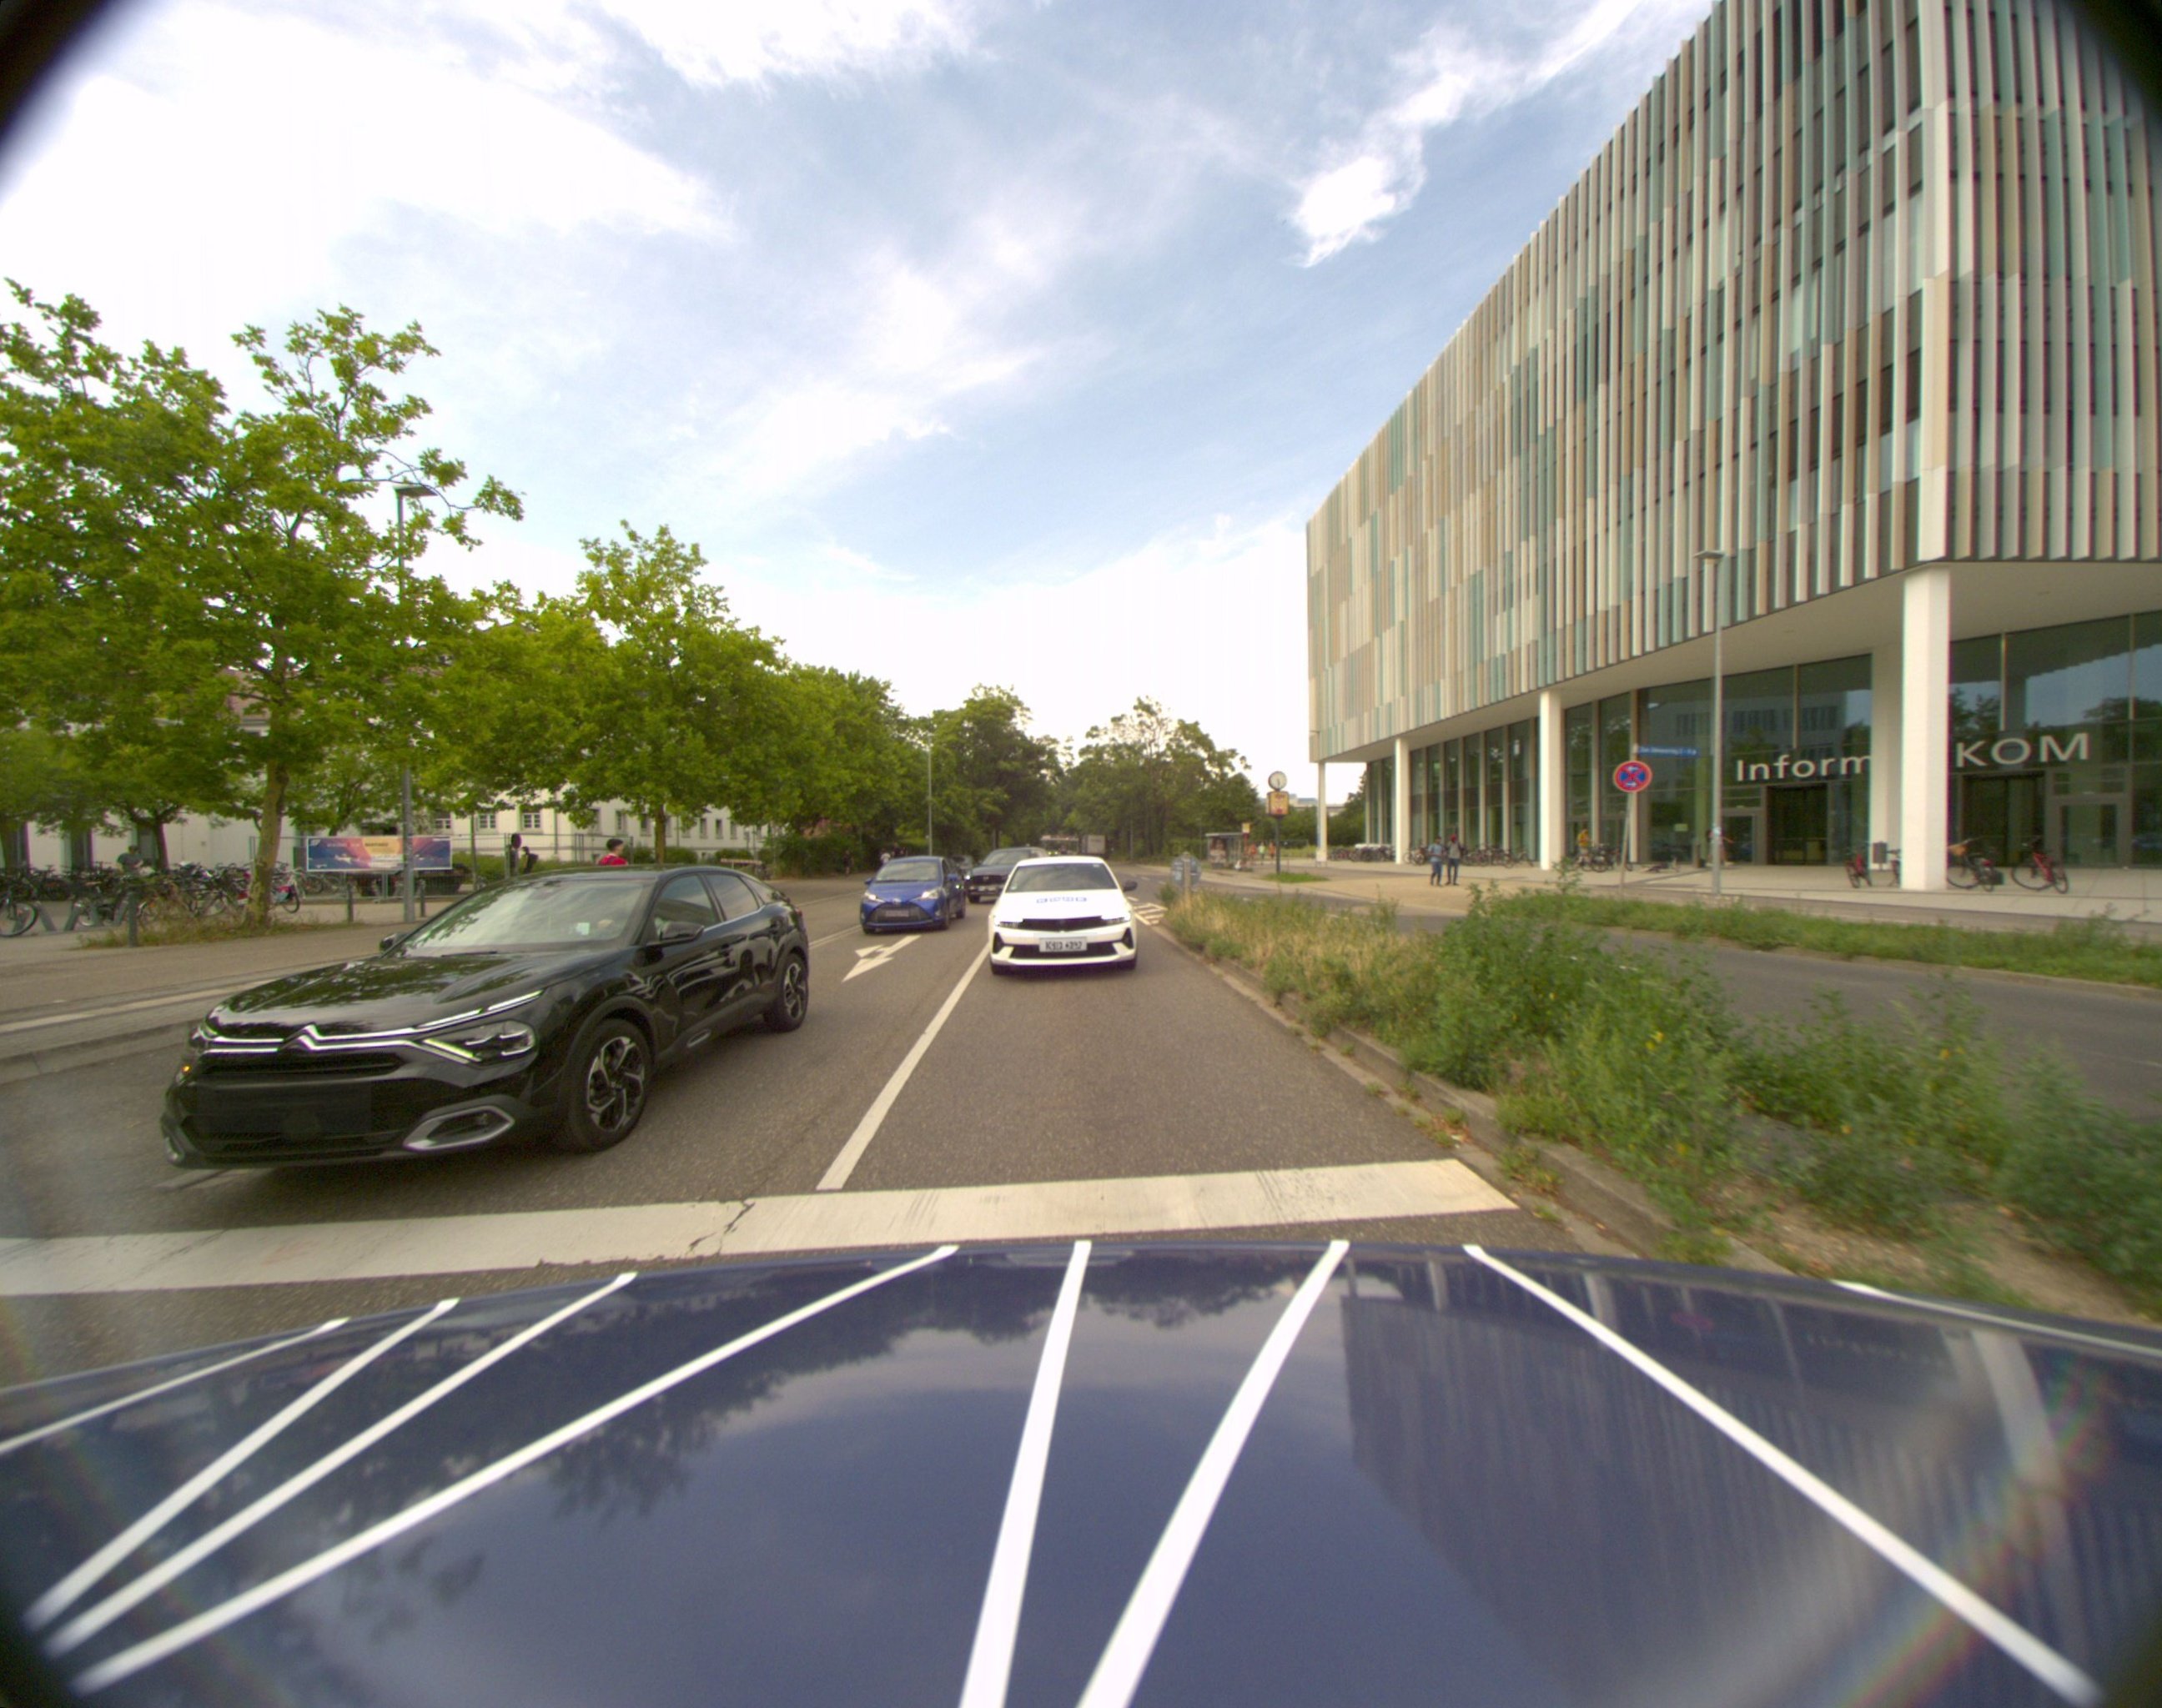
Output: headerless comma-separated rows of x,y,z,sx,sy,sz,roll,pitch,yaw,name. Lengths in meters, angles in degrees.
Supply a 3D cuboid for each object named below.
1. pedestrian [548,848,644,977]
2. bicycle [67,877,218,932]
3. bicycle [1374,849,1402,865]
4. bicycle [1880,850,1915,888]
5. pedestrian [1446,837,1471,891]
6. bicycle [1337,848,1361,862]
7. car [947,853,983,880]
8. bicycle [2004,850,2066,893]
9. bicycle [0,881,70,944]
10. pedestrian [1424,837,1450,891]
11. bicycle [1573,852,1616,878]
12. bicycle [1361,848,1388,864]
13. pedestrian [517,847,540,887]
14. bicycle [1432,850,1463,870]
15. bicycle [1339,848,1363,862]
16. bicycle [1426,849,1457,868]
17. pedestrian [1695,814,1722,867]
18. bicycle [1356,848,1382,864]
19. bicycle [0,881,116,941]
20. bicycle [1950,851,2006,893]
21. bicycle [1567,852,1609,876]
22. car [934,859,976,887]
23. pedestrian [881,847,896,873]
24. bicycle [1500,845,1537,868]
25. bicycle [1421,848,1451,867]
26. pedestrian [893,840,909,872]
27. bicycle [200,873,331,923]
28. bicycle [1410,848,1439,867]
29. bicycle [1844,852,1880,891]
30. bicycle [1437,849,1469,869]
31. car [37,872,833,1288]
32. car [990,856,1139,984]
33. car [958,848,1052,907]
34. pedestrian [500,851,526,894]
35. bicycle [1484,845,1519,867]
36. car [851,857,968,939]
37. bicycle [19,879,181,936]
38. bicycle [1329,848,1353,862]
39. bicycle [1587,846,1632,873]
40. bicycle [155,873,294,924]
-7.280,0.836,11.462,0.727,1.843,1.064,-1,1,-3,pedestrian
-21.211,1.136,17.205,2.472,1.136,0.717,-1,1,0,bicycle
20.831,0.194,51.536,1.704,1.017,0.389,-3,1,-6,bicycle
22.078,0.397,20.542,1.600,0.932,0.393,-4,1,-34,bicycle
13.146,0.348,26.487,0.512,1.827,0.624,-1,0,-2,pedestrian
20.638,0.063,58.531,1.704,1.017,0.434,-3,1,-6,bicycle
-6.872,0.704,45.339,1.606,1.454,4.017,-1,1,-2,car
22.597,0.399,18.028,0.393,0.932,1.601,-2,1,32,bicycle
-21.006,1.114,14.480,2.472,1.136,0.717,-1,1,0,bicycle
12.368,0.343,26.409,0.512,1.827,0.772,-1,0,-2,pedestrian
20.842,0.444,30.841,1.546,0.932,0.394,-3,1,-6,bicycle
20.519,0.138,53.169,1.704,1.017,0.434,-3,1,-6,bicycle
-24.649,0.585,33.918,0.530,1.743,0.594,-1,1,3,pedestrian
20.804,0.340,43.138,1.582,1.017,0.389,-3,1,-6,bicycle
20.490,0.083,57.650,1.704,1.017,0.434,-3,1,-6,bicycle
20.708,0.275,43.674,1.582,1.017,0.389,-3,1,-6,bicycle
24.674,-0.529,29.876,0.512,2.031,0.624,-1,0,-3,pedestrian
20.477,0.144,54.019,1.704,1.017,0.434,-3,1,-6,bicycle
-21.256,1.155,15.383,2.472,1.136,0.717,-1,1,0,bicycle
21.910,0.416,18.581,0.393,0.932,1.601,-2,1,32,bicycle
21.111,0.416,31.622,1.546,0.932,0.389,-3,1,-6,bicycle
-6.686,0.980,40.784,1.703,1.361,3.831,-1,1,-2,car
-11.562,0.356,45.711,0.646,1.556,0.804,-1,1,-1,pedestrian
20.989,0.114,36.434,1.582,1.017,0.389,-3,1,-6,bicycle
20.667,0.203,44.246,1.582,1.017,0.389,-3,1,-6,bicycle
-10.825,0.118,45.706,0.798,1.922,0.760,-1,1,-2,pedestrian
-20.389,1.089,19.026,2.472,1.136,0.717,-1,1,0,bicycle
20.515,0.202,45.417,1.582,1.017,0.389,-3,1,-6,bicycle
20.914,0.459,20.346,1.613,0.932,0.393,-4,1,-34,bicycle
20.286,0.264,41.422,1.582,1.017,0.389,-3,1,-6,bicycle
-3.365,0.992,5.243,1.804,1.547,4.176,-2,0,1,car
-0.267,0.791,11.397,1.744,1.430,4.781,-1,1,-2,car
-2.268,0.668,24.150,1.903,1.639,4.647,-1,0,8,car
-23.641,0.761,31.650,0.586,1.729,0.594,-1,1,0,pedestrian
21.360,0.087,38.580,1.582,1.017,0.389,-3,1,-6,bicycle
-3.521,0.834,16.260,1.703,1.485,3.831,-1,1,-2,car
-20.995,1.133,16.290,2.472,1.136,0.717,-1,1,0,bicycle
20.511,0.043,60.010,1.704,1.017,0.434,-3,1,-6,bicycle
20.861,0.220,29.984,1.546,0.989,0.399,-3,1,-5,bicycle
-20.412,1.054,18.141,2.472,1.136,0.717,-1,1,0,bicycle
